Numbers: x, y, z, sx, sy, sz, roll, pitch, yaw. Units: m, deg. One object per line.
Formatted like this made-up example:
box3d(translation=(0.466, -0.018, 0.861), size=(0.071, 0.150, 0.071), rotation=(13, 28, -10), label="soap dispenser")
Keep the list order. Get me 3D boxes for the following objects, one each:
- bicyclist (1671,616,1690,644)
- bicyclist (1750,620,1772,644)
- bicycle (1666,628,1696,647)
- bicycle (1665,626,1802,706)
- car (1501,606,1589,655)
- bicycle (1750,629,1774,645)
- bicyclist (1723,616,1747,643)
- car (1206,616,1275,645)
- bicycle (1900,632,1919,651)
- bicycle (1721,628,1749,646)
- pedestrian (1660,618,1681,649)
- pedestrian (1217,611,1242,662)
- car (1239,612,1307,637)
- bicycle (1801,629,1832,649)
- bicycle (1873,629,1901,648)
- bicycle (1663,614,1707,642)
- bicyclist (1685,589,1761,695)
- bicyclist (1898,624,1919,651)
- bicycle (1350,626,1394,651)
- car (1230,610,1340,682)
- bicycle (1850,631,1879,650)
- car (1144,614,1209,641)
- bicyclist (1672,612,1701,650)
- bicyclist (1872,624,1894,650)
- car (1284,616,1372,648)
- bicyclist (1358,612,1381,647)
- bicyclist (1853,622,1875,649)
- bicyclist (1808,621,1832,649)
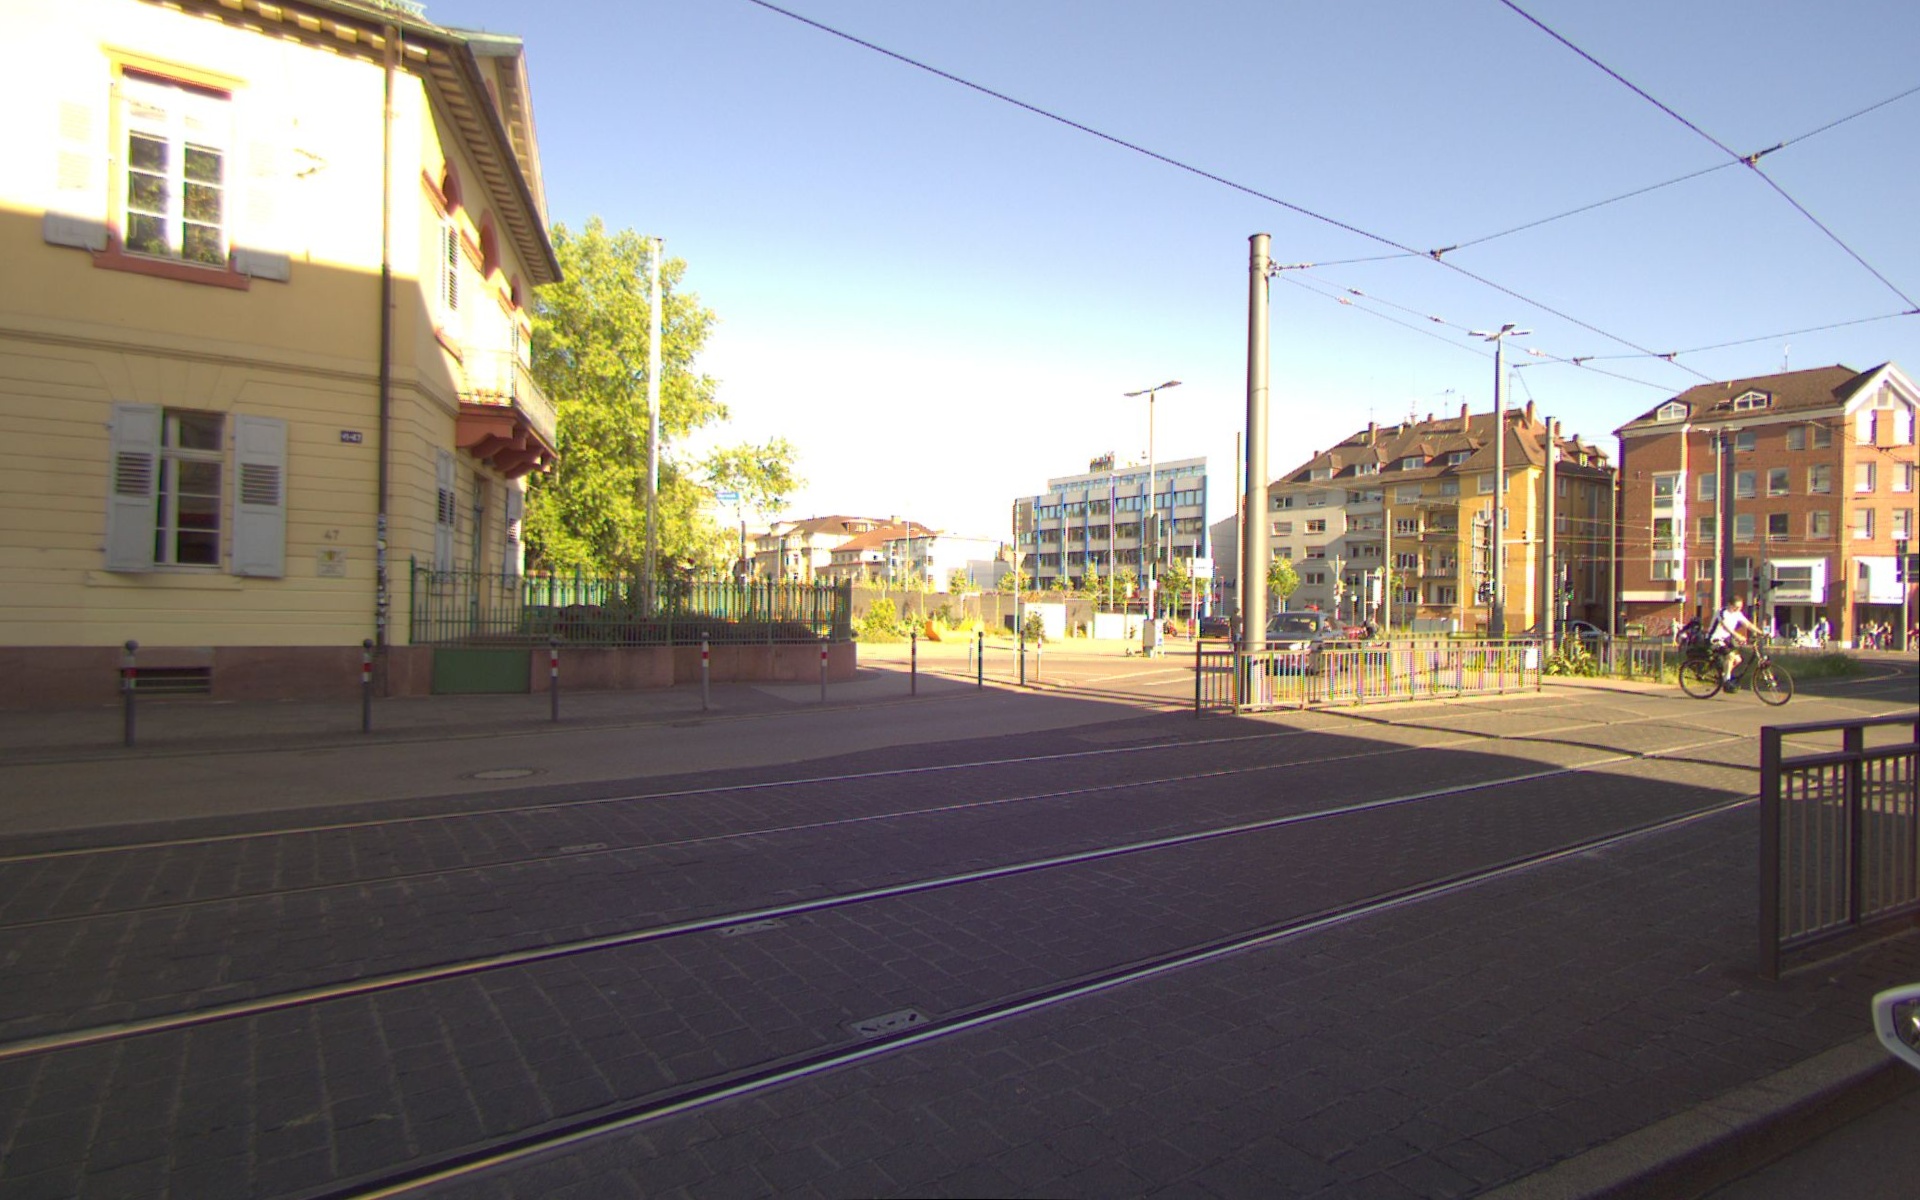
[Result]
box3d(translation=(39.702, 1.647, 55.352), size=(0.688, 1.523, 0.630), rotation=(2, 0, -30), label="bicyclist")
box3d(translation=(50.364, 1.991, 63.126), size=(0.958, 1.490, 0.702), rotation=(1, 0, -22), label="bicyclist")
box3d(translation=(39.751, 2.066, 55.385), size=(2.220, 0.984, 0.444), rotation=(2, 0, -31), label="bicycle")
box3d(translation=(13.271, 1.106, 17.305), size=(0.479, 1.238, 1.843), rotation=(2, 0, -24), label="bicycle")
box3d(translation=(20.436, 1.056, 35.047), size=(1.693, 1.547, 4.011), rotation=(2, 0, 45), label="car")
box3d(translation=(50.418, 2.342, 63.140), size=(1.669, 0.994, 0.403), rotation=(2, 0, -22), label="bicycle")
box3d(translation=(45.437, 1.713, 58.886), size=(0.688, 1.523, 0.894), rotation=(2, 0, -30), label="bicyclist")
box3d(translation=(18.005, 1.942, 64.576), size=(1.762, 1.694, 3.955), rotation=(2, 0, -39), label="car")
box3d(translation=(57.328, 2.503, 60.383), size=(2.197, 1.103, 0.527), rotation=(1, -1, -28), label="bicycle")
box3d(translation=(45.466, 2.167, 58.921), size=(2.220, 0.984, 0.521), rotation=(2, 0, -31), label="bicycle")
box3d(translation=(42.837, 2.030, 60.558), size=(0.737, 1.845, 0.781), rotation=(2, 0, -28), label="pedestrian")
box3d(translation=(9.312, 1.261, 34.683), size=(0.759, 1.703, 0.592), rotation=(2, 0, 19), label="pedestrian")
box3d(translation=(20.737, 1.608, 66.670), size=(1.781, 1.503, 3.949), rotation=(2, 0, -43), label="car")
box3d(translation=(48.519, 2.213, 56.888), size=(2.197, 1.103, 0.535), rotation=(2, 0, -28), label="bicycle")
box3d(translation=(56.991, 2.367, 61.747), size=(2.255, 1.103, 0.527), rotation=(2, 0, -28), label="bicycle")
box3d(translation=(29.845, 1.169, 41.342), size=(2.172, 1.108, 0.457), rotation=(2, 0, -26), label="bicycle")
box3d(translation=(13.237, 0.719, 17.430), size=(0.748, 1.783, 0.748), rotation=(2, 0, -25), label="bicyclist")
box3d(translation=(56.817, 2.267, 60.118), size=(0.737, 1.584, 0.781), rotation=(1, 0, -28), label="bicyclist")
box3d(translation=(22.381, 2.091, 54.563), size=(0.542, 1.230, 2.168), rotation=(2, 0, -41), label="bicycle")
box3d(translation=(7.902, 1.056, 24.246), size=(1.617, 1.546, 3.856), rotation=(2, 0, 32), label="car")
box3d(translation=(53.967, 2.416, 59.920), size=(2.255, 1.103, 0.527), rotation=(1, -1, -28), label="bicycle")
box3d(translation=(14.750, 1.872, 68.562), size=(1.895, 1.708, 3.916), rotation=(2, 0, -41), label="car")
box3d(translation=(29.923, 1.272, 41.378), size=(0.581, 1.547, 0.783), rotation=(2, 0, -25), label="bicyclist")
box3d(translation=(56.502, 2.260, 61.489), size=(0.737, 1.584, 0.781), rotation=(1, 0, -28), label="bicyclist")
box3d(translation=(21.879, 1.886, 59.884), size=(1.984, 1.723, 4.545), rotation=(2, 0, -41), label="car")
box3d(translation=(22.284, 1.602, 54.633), size=(0.785, 1.832, 0.892), rotation=(2, 0, -42), label="bicyclist")
box3d(translation=(53.977, 2.117, 59.958), size=(0.737, 1.584, 0.781), rotation=(1, 0, -28), label="bicyclist")
box3d(translation=(48.730, 1.983, 56.936), size=(0.737, 1.584, 0.781), rotation=(2, 0, -28), label="bicyclist")
